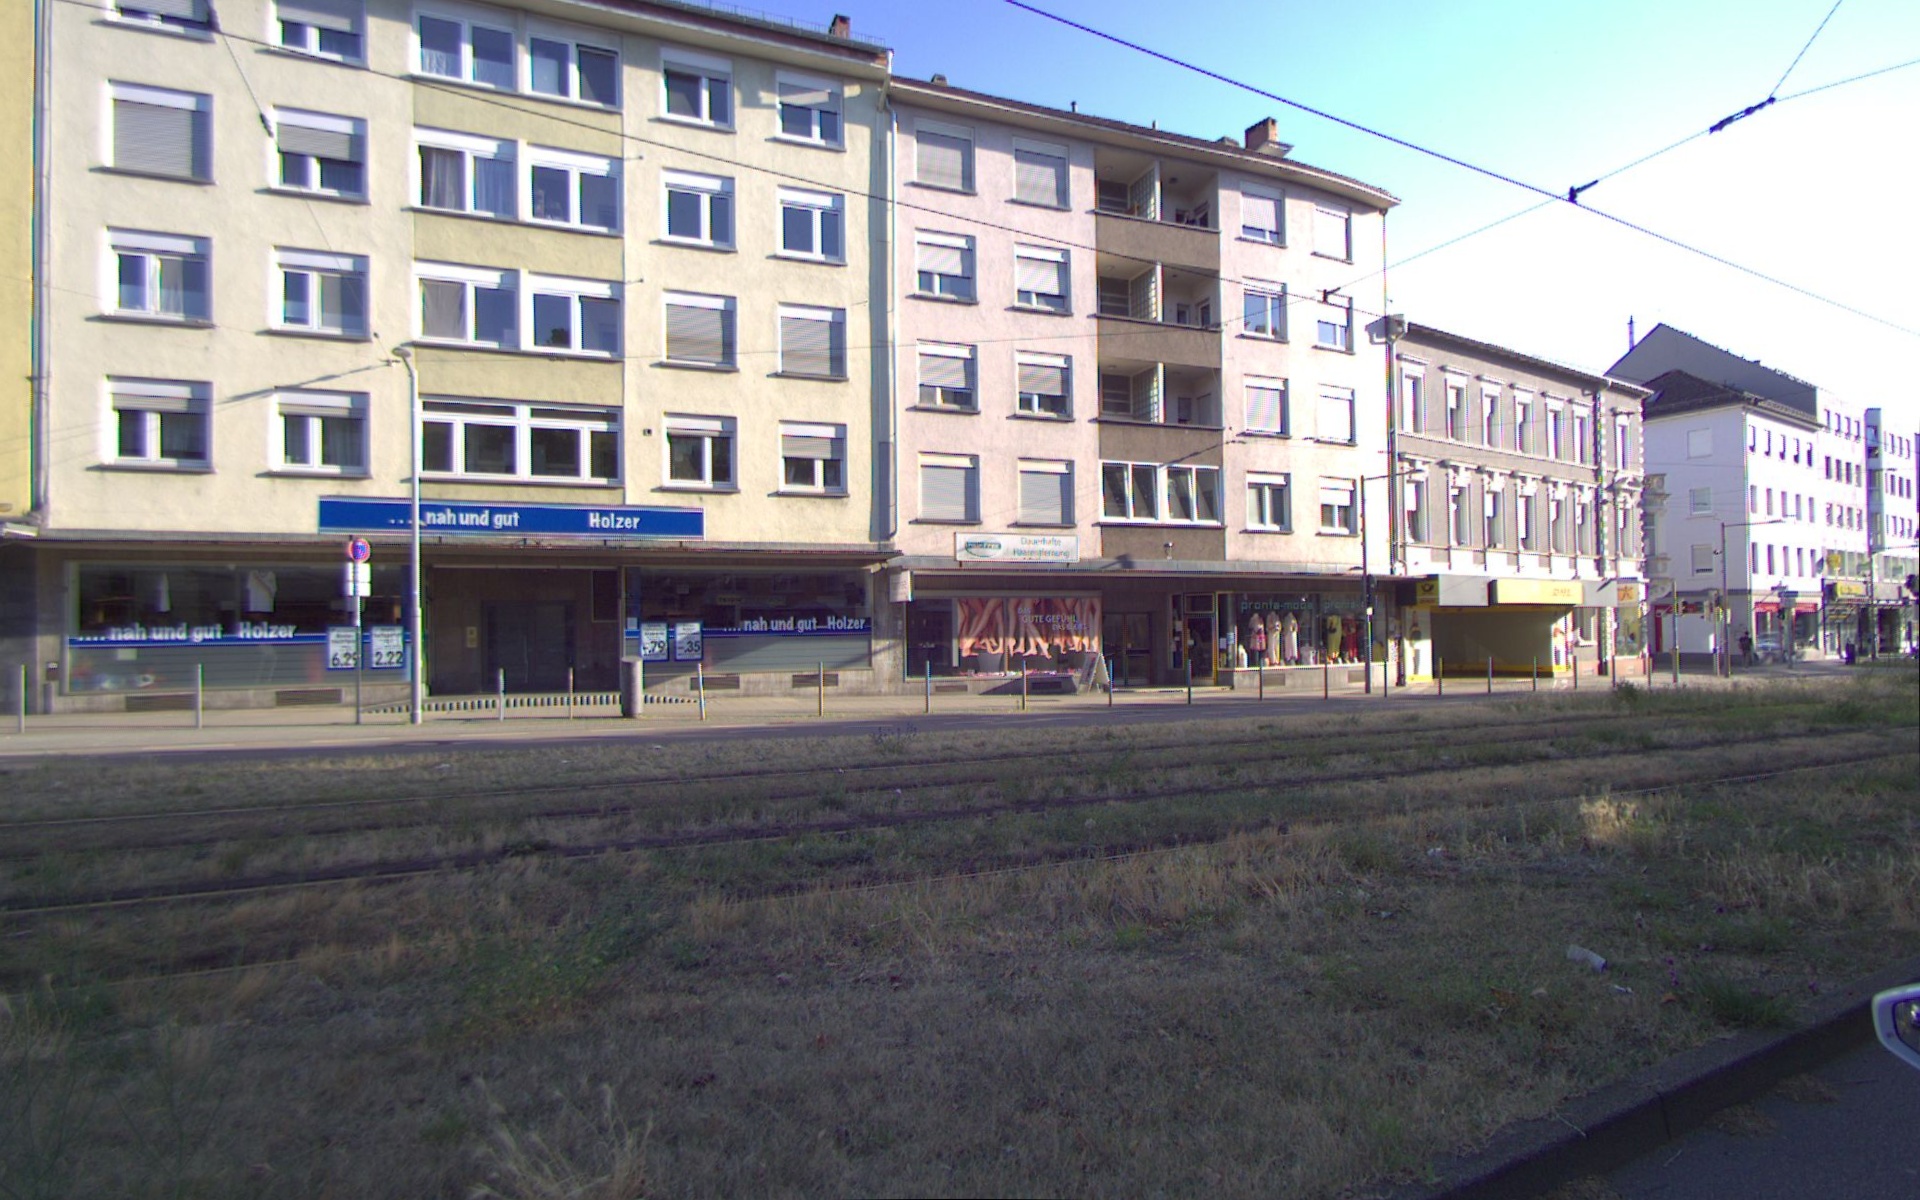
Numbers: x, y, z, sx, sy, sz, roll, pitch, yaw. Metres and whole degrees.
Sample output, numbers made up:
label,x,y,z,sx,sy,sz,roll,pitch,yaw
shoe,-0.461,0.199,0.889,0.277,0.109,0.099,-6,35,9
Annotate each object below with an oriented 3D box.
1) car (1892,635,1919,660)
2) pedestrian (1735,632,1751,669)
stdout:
label,x,y,z,sx,sy,sz,roll,pitch,yaw
car,56.365,2.693,57.119,4.466,1.431,1.999,-1,-2,24
pedestrian,36.942,2.382,47.389,0.501,1.736,0.424,1,-2,-26
